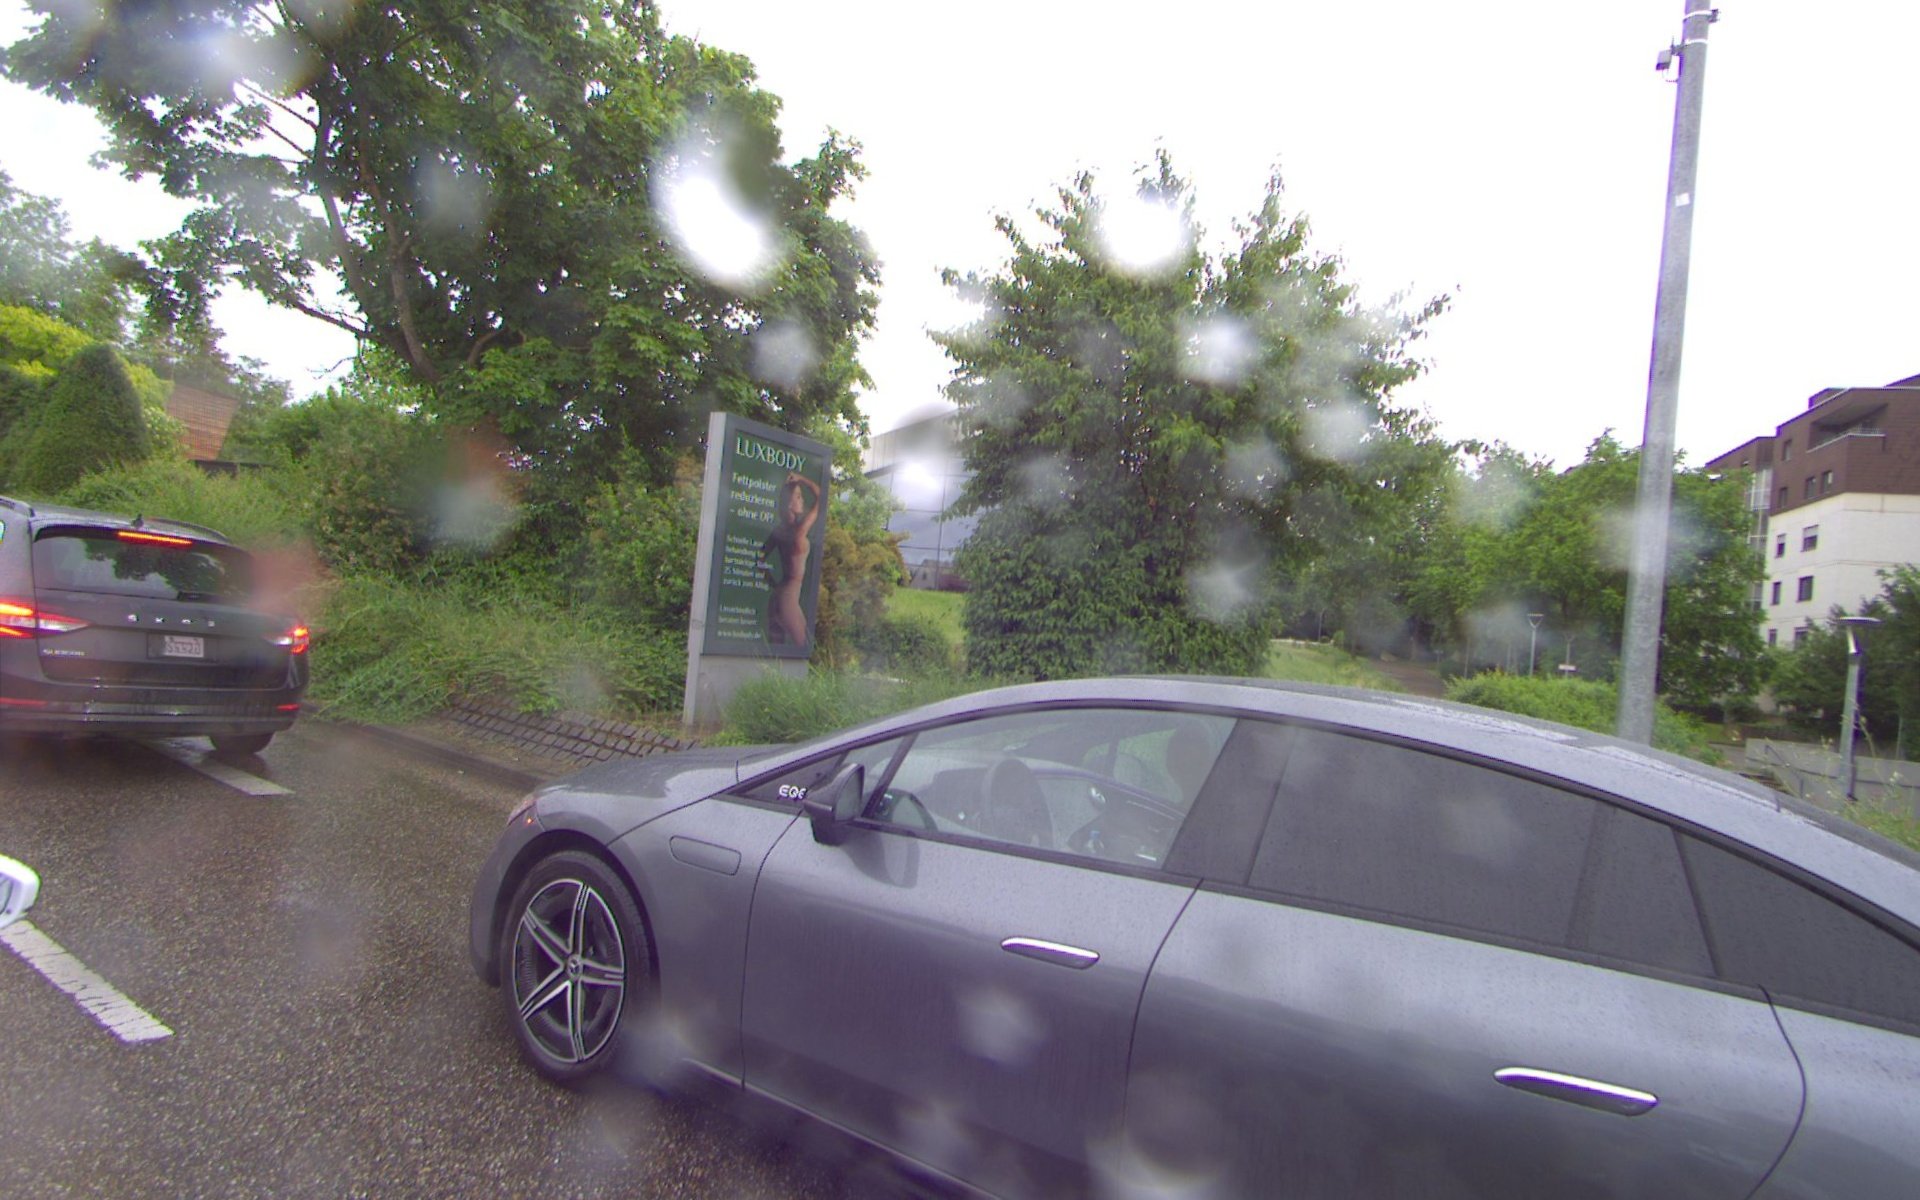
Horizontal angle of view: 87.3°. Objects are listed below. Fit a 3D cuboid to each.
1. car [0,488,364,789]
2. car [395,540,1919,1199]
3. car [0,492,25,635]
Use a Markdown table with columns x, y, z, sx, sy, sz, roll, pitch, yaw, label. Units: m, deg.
| x | y | z | sx | sy | sz | roll | pitch | yaw | label |
| --- | --- | --- | --- | --- | --- | --- | --- | --- | --- |
| -6.121 | 0.059 | 6.741 | 4.279 | 1.483 | 1.841 | 7 | -2 | 33 | car |
| 0.688 | 0.885 | 2.918 | 4.728 | 1.483 | 1.842 | 7 | -2 | 31 | car |
| -12.151 | -0.681 | 10.871 | 4.048 | 1.483 | 1.842 | 7 | -2 | 31 | car |
